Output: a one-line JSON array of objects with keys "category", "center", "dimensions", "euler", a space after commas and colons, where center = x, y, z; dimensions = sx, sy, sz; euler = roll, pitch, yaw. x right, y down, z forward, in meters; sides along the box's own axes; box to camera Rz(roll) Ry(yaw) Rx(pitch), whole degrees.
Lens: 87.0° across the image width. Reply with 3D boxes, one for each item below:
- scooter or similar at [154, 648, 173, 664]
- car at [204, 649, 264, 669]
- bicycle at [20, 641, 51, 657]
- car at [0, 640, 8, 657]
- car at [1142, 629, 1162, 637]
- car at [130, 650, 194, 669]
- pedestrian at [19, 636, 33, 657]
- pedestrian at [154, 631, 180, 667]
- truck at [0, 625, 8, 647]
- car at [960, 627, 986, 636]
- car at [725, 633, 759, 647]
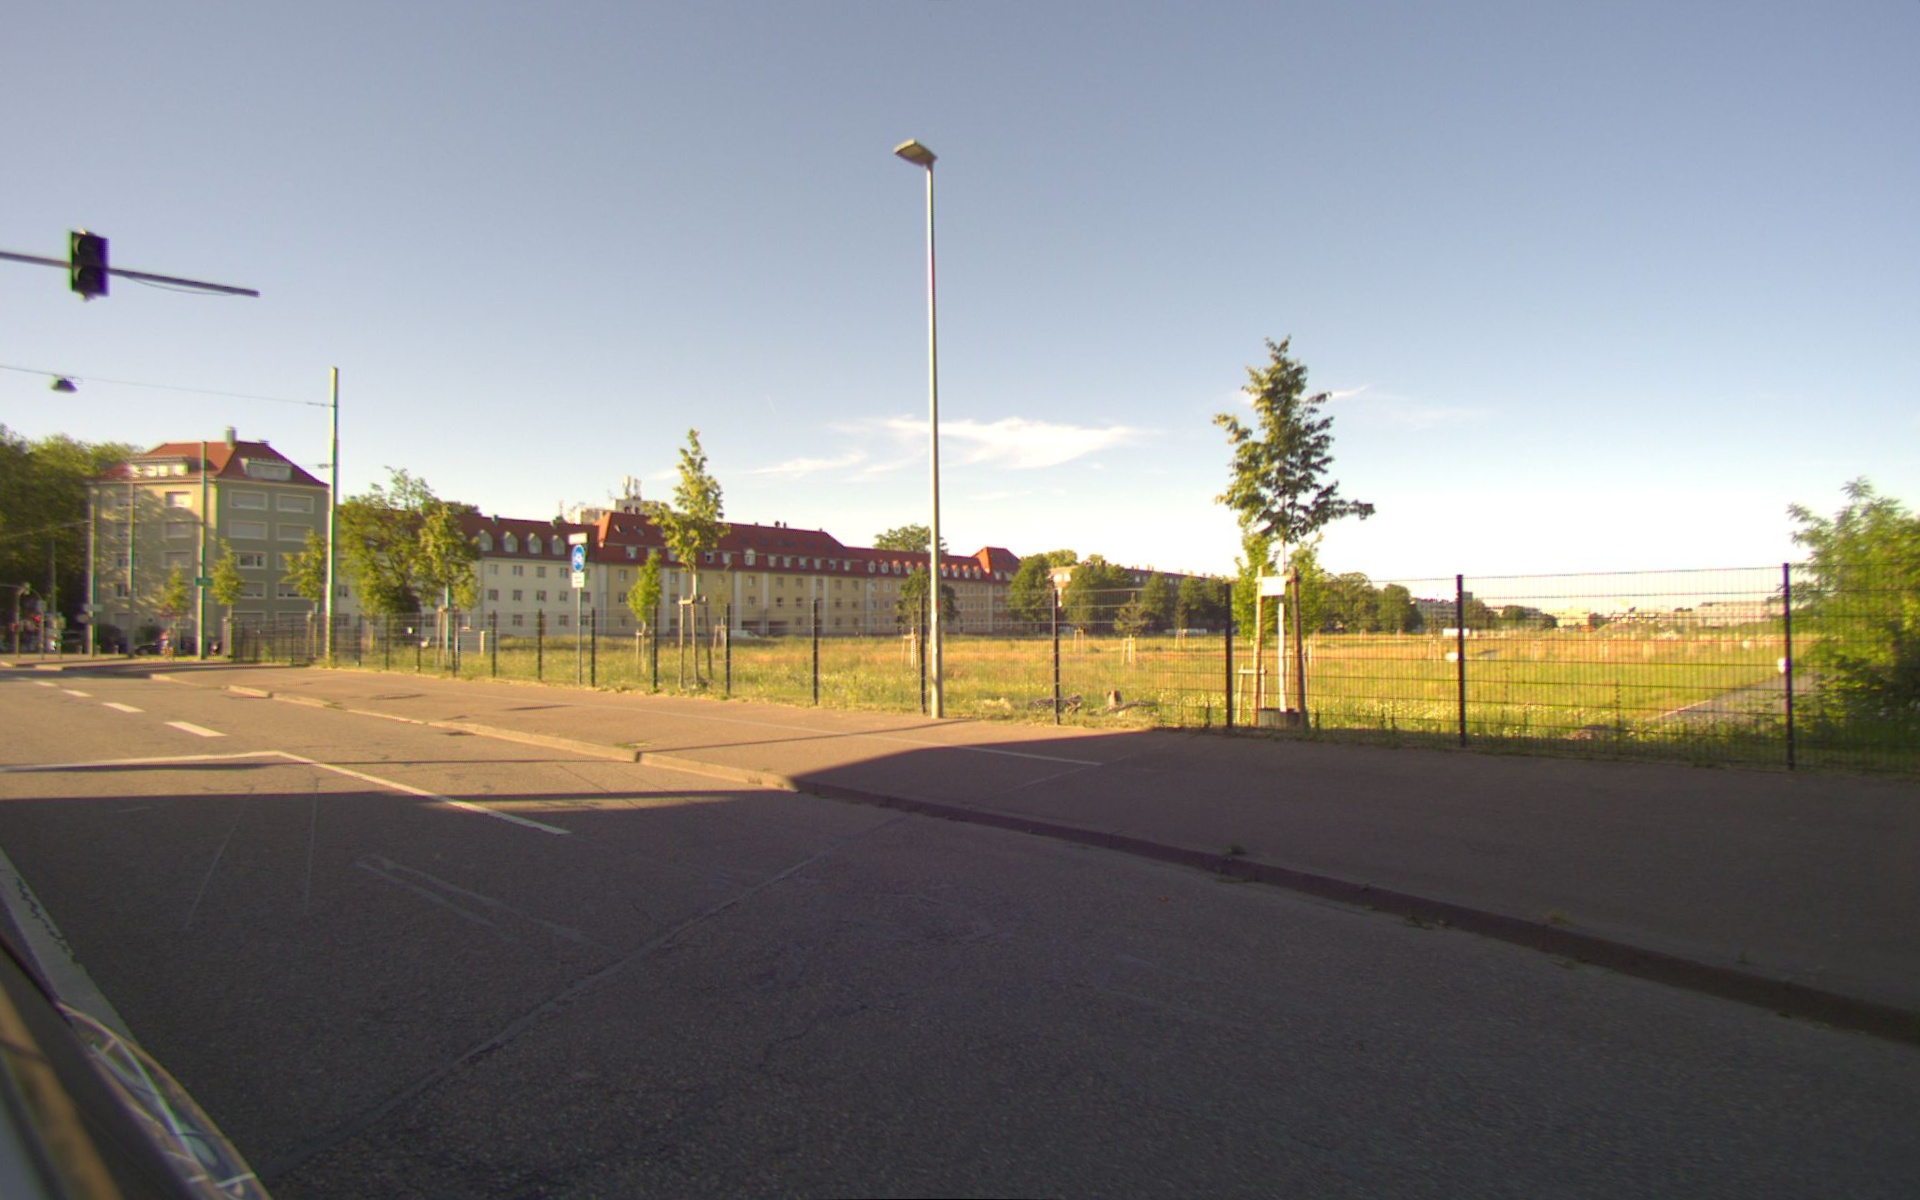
[{"category": "scooter or similar", "center": [-61.684, 4.369, 78.388], "dimensions": [0.586, 1.153, 1.268], "euler": [0, -7, -8]}, {"category": "car", "center": [-61.438, 4.963, 85.720], "dimensions": [1.698, 1.542, 3.851], "euler": [-7, -6, 38]}, {"category": "bicycle", "center": [-89.222, 4.690, 97.671], "dimensions": [2.017, 1.473, 0.728], "euler": [2, -1, -19]}, {"category": "car", "center": [-97.866, 4.925, 100.760], "dimensions": [4.078, 1.652, 1.780], "euler": [-1, 0, -27]}, {"category": "car", "center": [39.637, 6.773, 208.864], "dimensions": [1.942, 1.505, 4.148], "euler": [-5, -5, 42]}, {"category": "car", "center": [-69.236, 5.160, 87.842], "dimensions": [1.942, 1.505, 4.148], "euler": [-5, -5, 42]}, {"category": "pedestrian", "center": [-90.704, 4.473, 98.254], "dimensions": [0.685, 1.978, 0.930], "euler": [-1, 0, -19]}, {"category": "pedestrian", "center": [-37.224, 2.312, 47.490], "dimensions": [1.181, 1.641, 0.823], "euler": [-3, -1, 45]}, {"category": "truck", "center": [-136.860, 5.167, 142.469], "dimensions": [2.304, 2.995, 8.057], "euler": [-1, 0, -29]}, {"category": "car", "center": [2.177, 5.147, 164.922], "dimensions": [1.942, 1.505, 4.148], "euler": [-5, -5, 42]}, {"category": "car", "center": [-26.893, 4.960, 124.753], "dimensions": [1.698, 1.542, 3.851], "euler": [-7, -6, 38]}]
